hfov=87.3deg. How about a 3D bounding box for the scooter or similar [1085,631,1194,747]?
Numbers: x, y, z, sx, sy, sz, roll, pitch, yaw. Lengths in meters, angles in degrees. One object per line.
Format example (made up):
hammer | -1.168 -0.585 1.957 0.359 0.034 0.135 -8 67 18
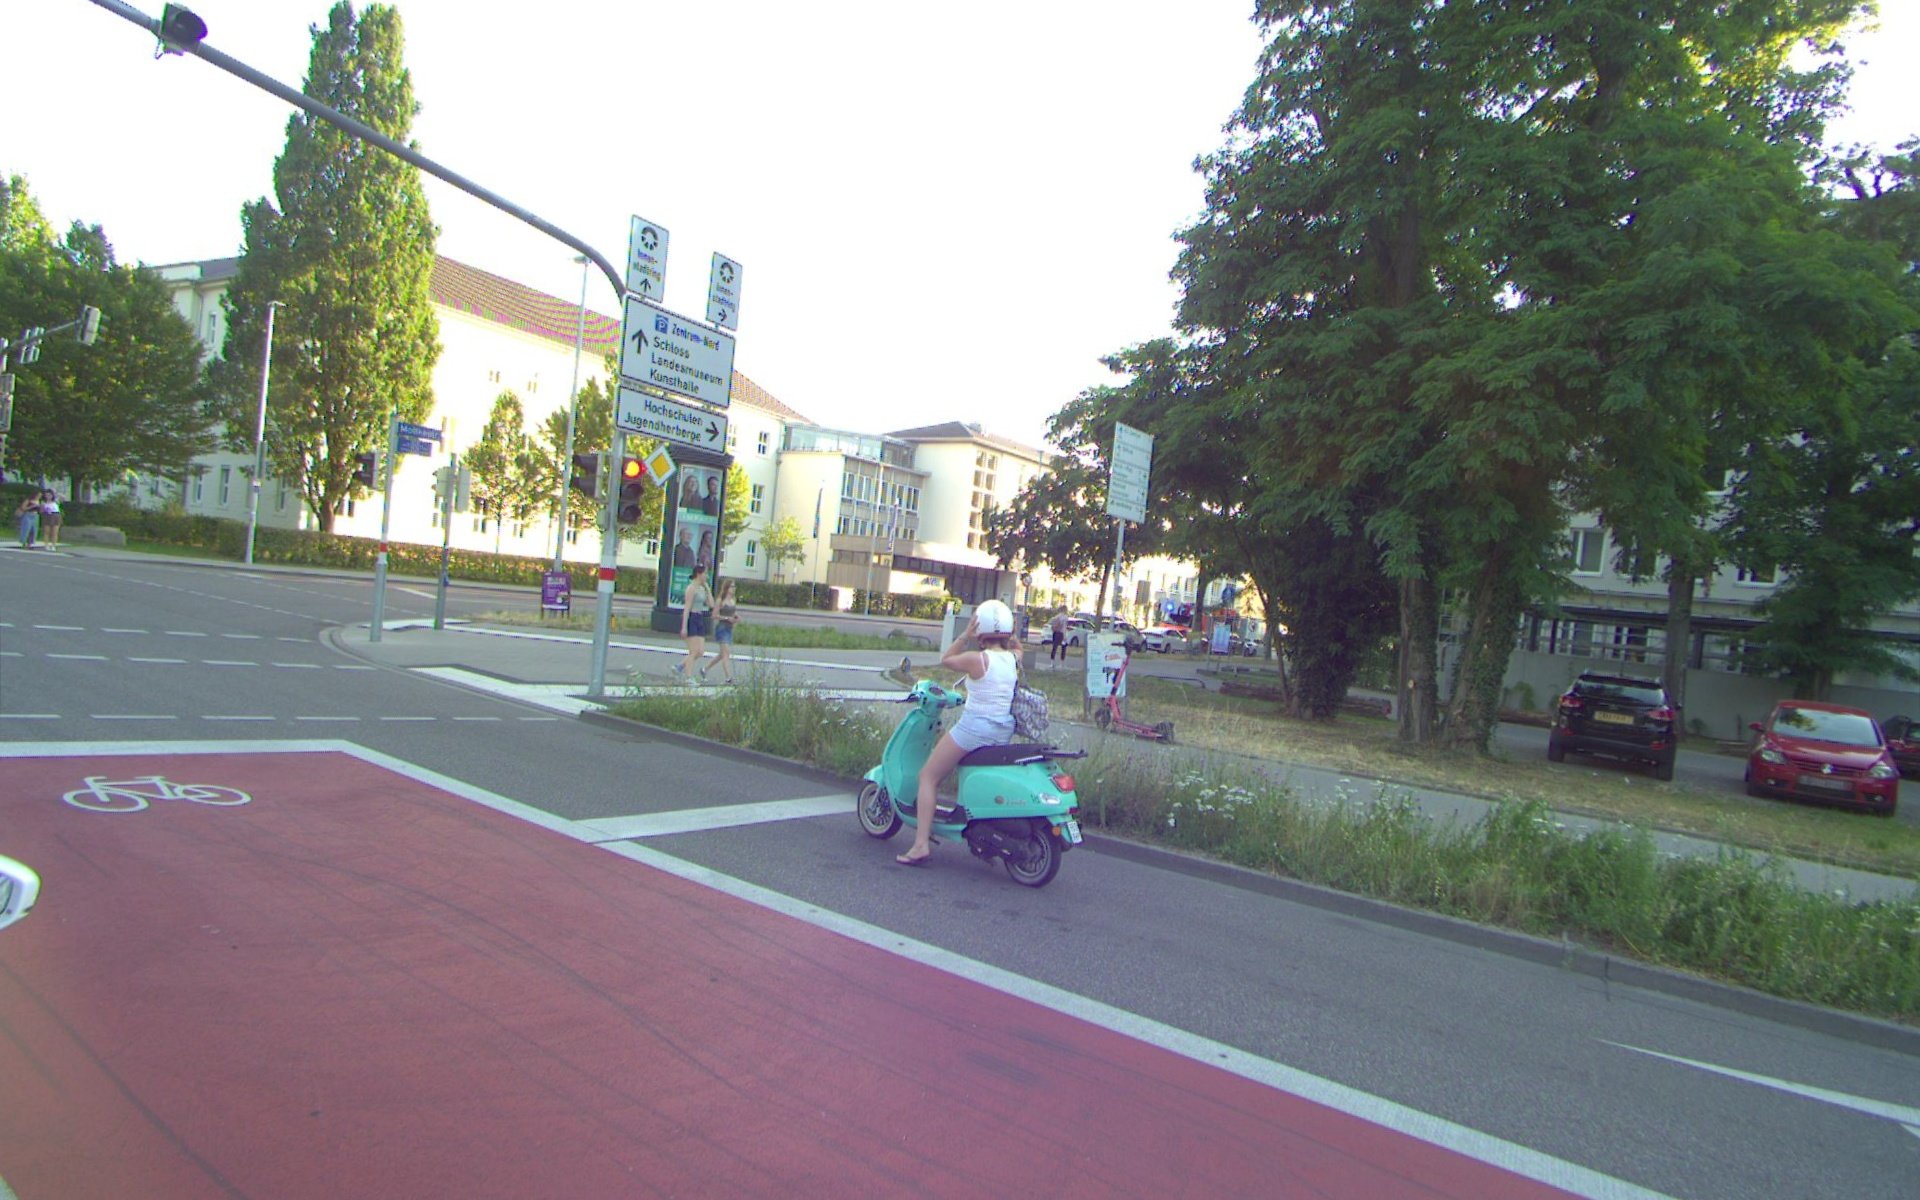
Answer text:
scooter or similar | 2.266 1.110 12.753 1.159 1.288 0.440 7 1 31

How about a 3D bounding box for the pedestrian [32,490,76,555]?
pedestrian | -26.196 -2.240 29.088 0.677 1.776 0.681 8 2 31

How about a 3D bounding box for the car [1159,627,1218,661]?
car | 13.665 2.651 60.004 1.969 1.660 3.987 7 0 35

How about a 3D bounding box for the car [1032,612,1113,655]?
car | 5.381 1.610 47.709 1.872 1.660 3.983 7 0 38

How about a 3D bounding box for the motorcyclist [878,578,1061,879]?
motorcyclist | 0.067 0.795 6.492 0.680 1.758 0.737 7 1 40

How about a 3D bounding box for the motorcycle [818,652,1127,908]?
motorcycle | 0.029 1.068 6.495 1.866 1.212 0.681 7 0 40

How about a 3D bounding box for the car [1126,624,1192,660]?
car | 10.942 2.315 55.217 1.969 1.660 3.987 7 0 35

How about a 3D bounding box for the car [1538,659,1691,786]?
car | 11.766 2.093 17.952 1.890 1.762 4.223 7 0 37

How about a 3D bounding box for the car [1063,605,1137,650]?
car | 7.744 1.541 55.277 2.024 1.884 4.486 7 -2 35

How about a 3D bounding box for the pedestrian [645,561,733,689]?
pedestrian | -3.814 0.357 14.152 0.764 1.681 0.719 7 1 32

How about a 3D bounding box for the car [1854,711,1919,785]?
car | 22.993 3.586 24.041 1.742 1.477 3.618 7 0 33

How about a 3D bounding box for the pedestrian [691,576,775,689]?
pedestrian | -3.331 0.479 14.785 0.776 1.542 0.735 7 1 33

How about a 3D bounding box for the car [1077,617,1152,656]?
car | 7.918 1.869 51.251 1.970 1.632 3.985 7 0 37

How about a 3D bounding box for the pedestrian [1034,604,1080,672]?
pedestrian | 2.664 1.050 27.536 0.694 1.761 0.892 7 1 40

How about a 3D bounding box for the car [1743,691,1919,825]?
car | 14.048 2.423 16.374 1.890 1.631 3.984 7 0 38

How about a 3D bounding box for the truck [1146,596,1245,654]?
truck | 15.920 1.780 67.366 2.599 3.179 10.243 6 0 35

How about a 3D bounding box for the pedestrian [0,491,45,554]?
pedestrian | -26.555 -2.190 28.480 0.831 1.643 0.681 8 2 32

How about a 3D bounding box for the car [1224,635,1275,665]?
car | 19.652 3.409 68.204 1.969 1.660 3.987 7 0 35

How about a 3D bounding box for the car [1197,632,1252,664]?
car | 16.729 3.038 63.527 1.969 1.660 3.987 7 0 35
